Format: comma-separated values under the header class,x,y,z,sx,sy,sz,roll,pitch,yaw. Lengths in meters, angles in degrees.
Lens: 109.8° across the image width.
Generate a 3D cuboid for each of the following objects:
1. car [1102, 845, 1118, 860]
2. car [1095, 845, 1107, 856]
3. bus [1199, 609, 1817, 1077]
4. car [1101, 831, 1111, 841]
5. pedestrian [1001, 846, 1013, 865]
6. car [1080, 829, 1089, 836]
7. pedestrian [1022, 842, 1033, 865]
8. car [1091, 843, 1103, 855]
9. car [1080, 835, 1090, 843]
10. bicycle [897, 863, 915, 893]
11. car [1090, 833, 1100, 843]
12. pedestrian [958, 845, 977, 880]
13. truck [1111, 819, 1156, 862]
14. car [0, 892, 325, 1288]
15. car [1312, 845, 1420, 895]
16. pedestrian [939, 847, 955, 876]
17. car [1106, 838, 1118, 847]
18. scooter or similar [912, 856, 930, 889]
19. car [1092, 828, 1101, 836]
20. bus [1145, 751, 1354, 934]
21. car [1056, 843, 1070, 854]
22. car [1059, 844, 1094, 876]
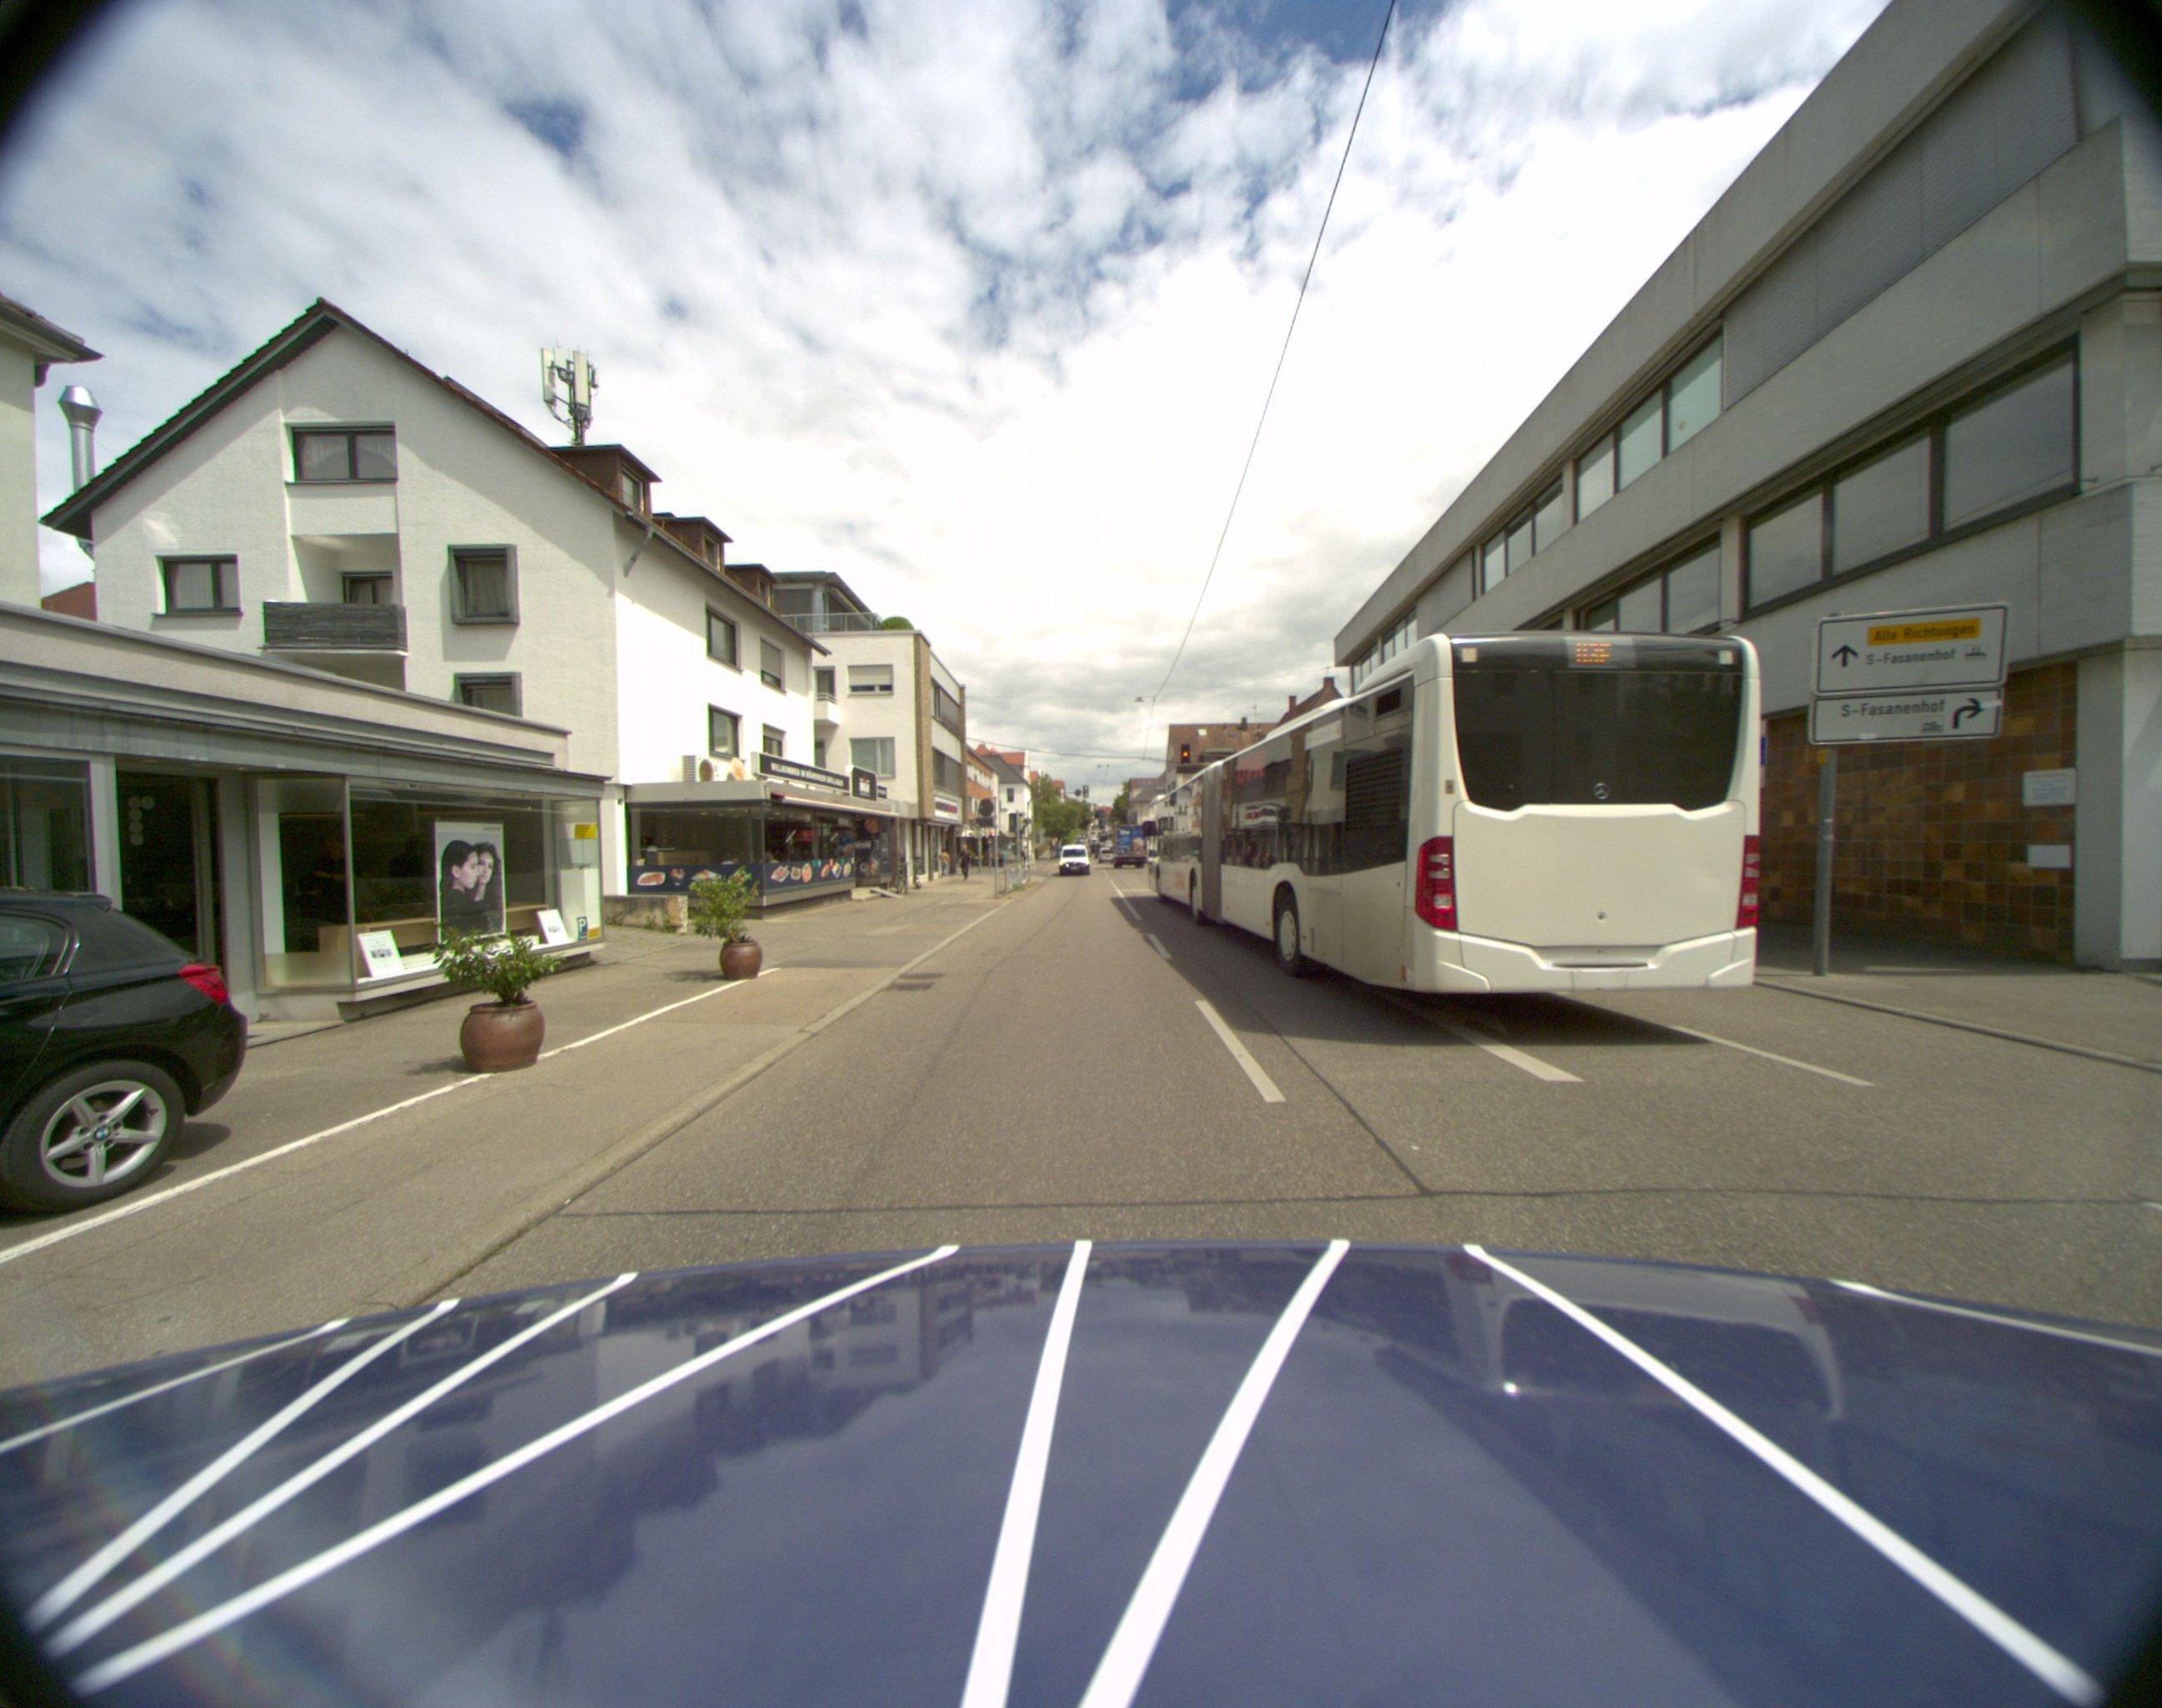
class,x,y,z,sx,sy,sz,roll,pitch,yaw
car,3.588,-0.257,94.785,1.950,1.810,4.278,-1,1,1
car,2.963,-0.483,112.055,1.681,1.626,2.833,-1,1,-1
bus,3.544,-0.134,9.190,2.723,3.145,8.065,-1,1,-2
car,5.886,-4.180,176.547,2.111,2.109,4.764,-1,1,0
pedestrian,-5.862,0.133,60.391,0.779,1.517,0.819,0,1,3
car,0.849,-5.617,195.987,2.149,1.748,3.973,0,1,1
pedestrian,-4.289,-0.059,61.075,0.581,1.820,0.882,1,1,17
car,2.654,-0.798,127.529,1.953,1.866,4.875,-1,2,0
car,0.811,-3.263,168.494,2.149,1.748,3.973,0,1,1
bicycle,-6.368,0.850,27.658,0.476,1.022,1.634,-1,1,-8
car,2.777,-3.134,149.253,1.819,1.919,4.112,0,1,1
pedestrian,-5.488,0.388,36.853,0.797,1.661,0.807,0,1,0
truck,4.011,-1.016,59.306,2.861,3.075,8.087,-1,1,0
car,-5.110,0.961,1.874,1.973,1.439,4.534,-1,1,-1
car,9.396,0.446,25.526,2.049,1.436,4.953,-2,1,4
pedestrian,-6.976,0.381,39.561,0.681,1.490,0.720,-1,1,1
car,5.763,-2.182,143.521,2.111,1.779,4.529,-1,1,0
scooter or similar,-6.399,0.740,30.374,0.690,1.260,1.184,-1,2,-11
car,3.961,-5.650,194.187,1.982,1.985,5.027,-1,1,-1
bus,3.364,-0.265,18.298,2.689,3.145,10.182,-1,1,-1
car,-2.731,-0.847,114.192,1.998,1.654,3.999,-1,1,1
car,-0.310,0.313,46.792,2.000,1.797,4.764,-3,1,-1
